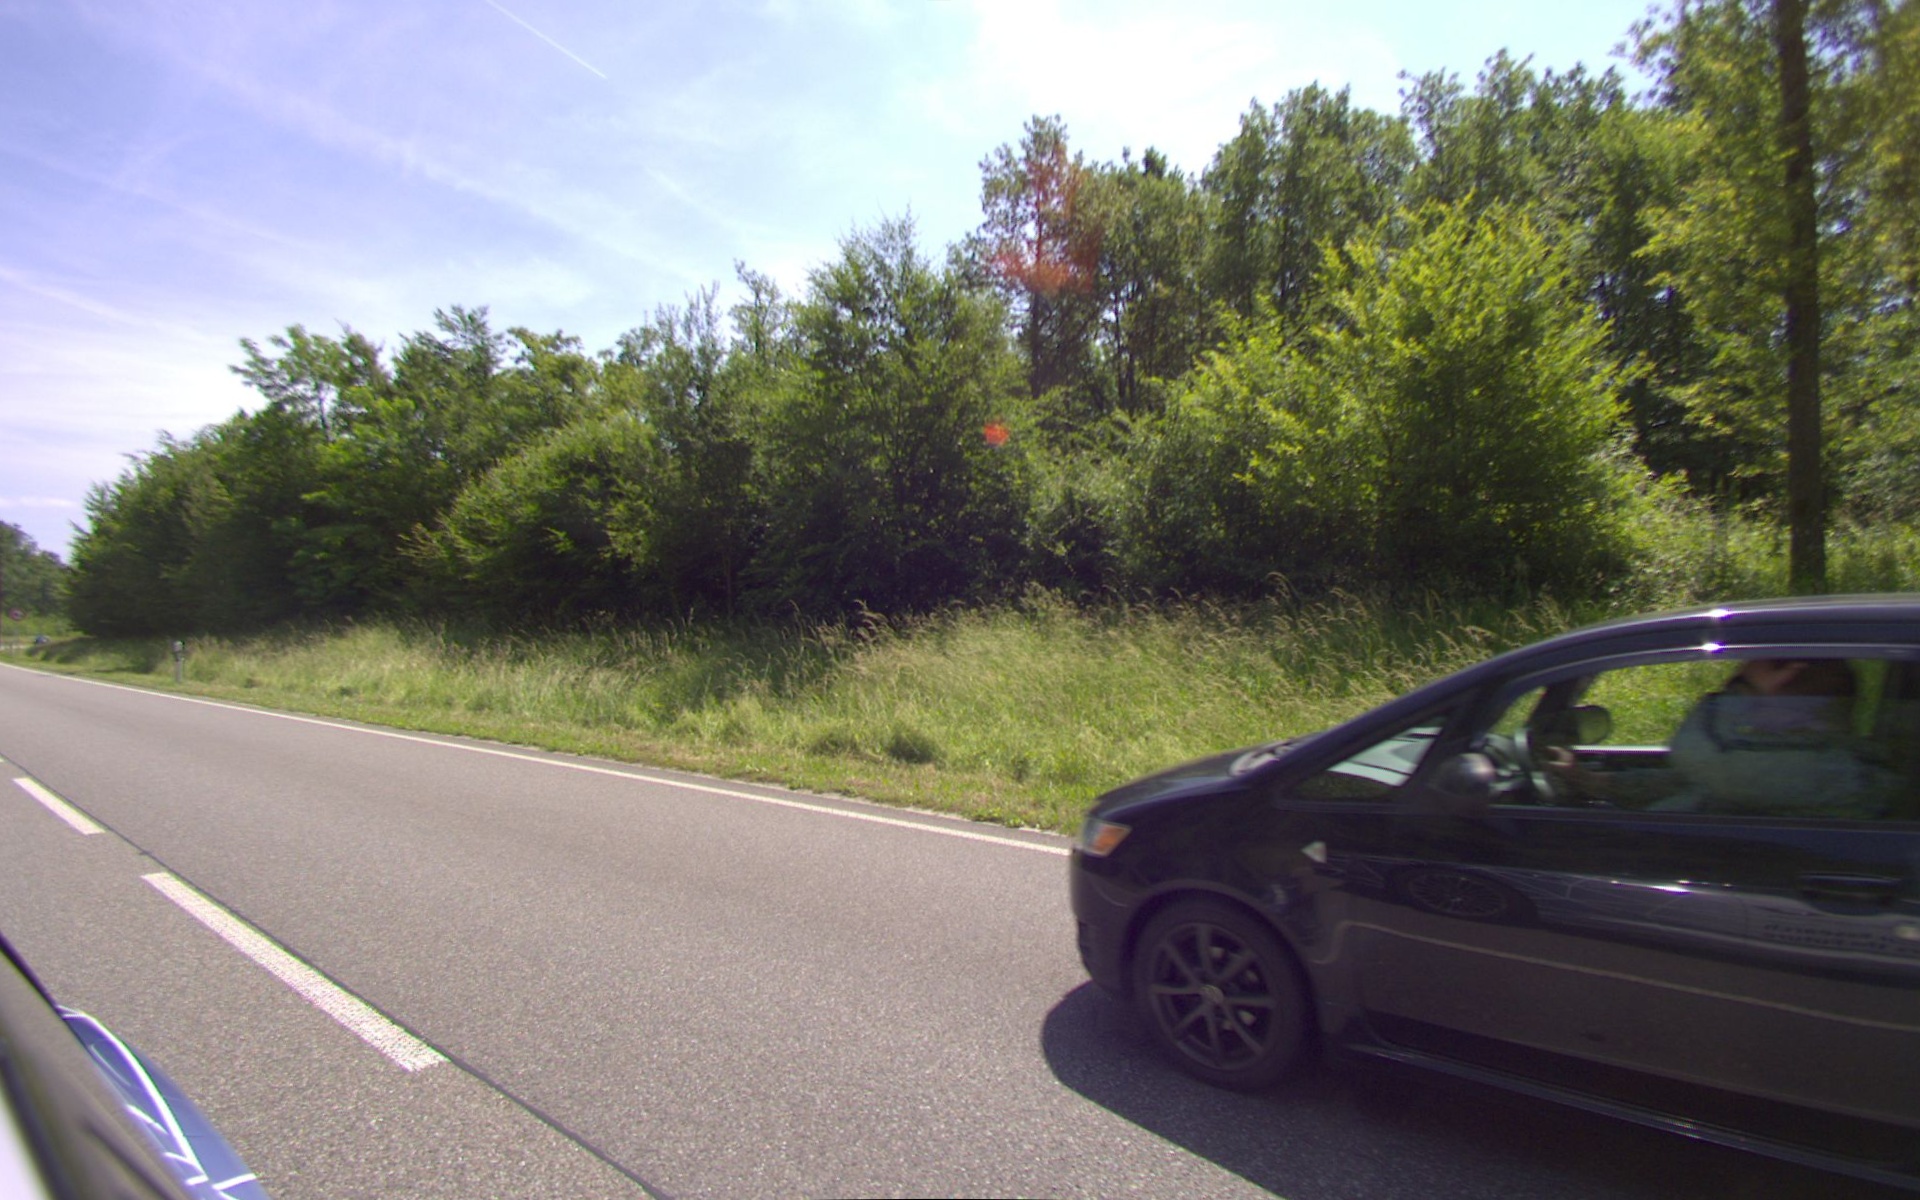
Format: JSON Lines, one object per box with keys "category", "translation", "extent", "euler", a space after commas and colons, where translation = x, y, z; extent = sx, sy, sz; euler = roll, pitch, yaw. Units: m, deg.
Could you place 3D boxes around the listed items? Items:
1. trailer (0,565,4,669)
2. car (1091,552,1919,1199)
{"category": "trailer", "translation": [-45.537, 0.827, 45.252], "extent": [13.615, 4.285, 2.910], "euler": [-2, -2, 42]}
{"category": "car", "translation": [2.408, 0.664, 2.711], "extent": [3.803, 1.506, 1.643], "euler": [-2, -2, 41]}
